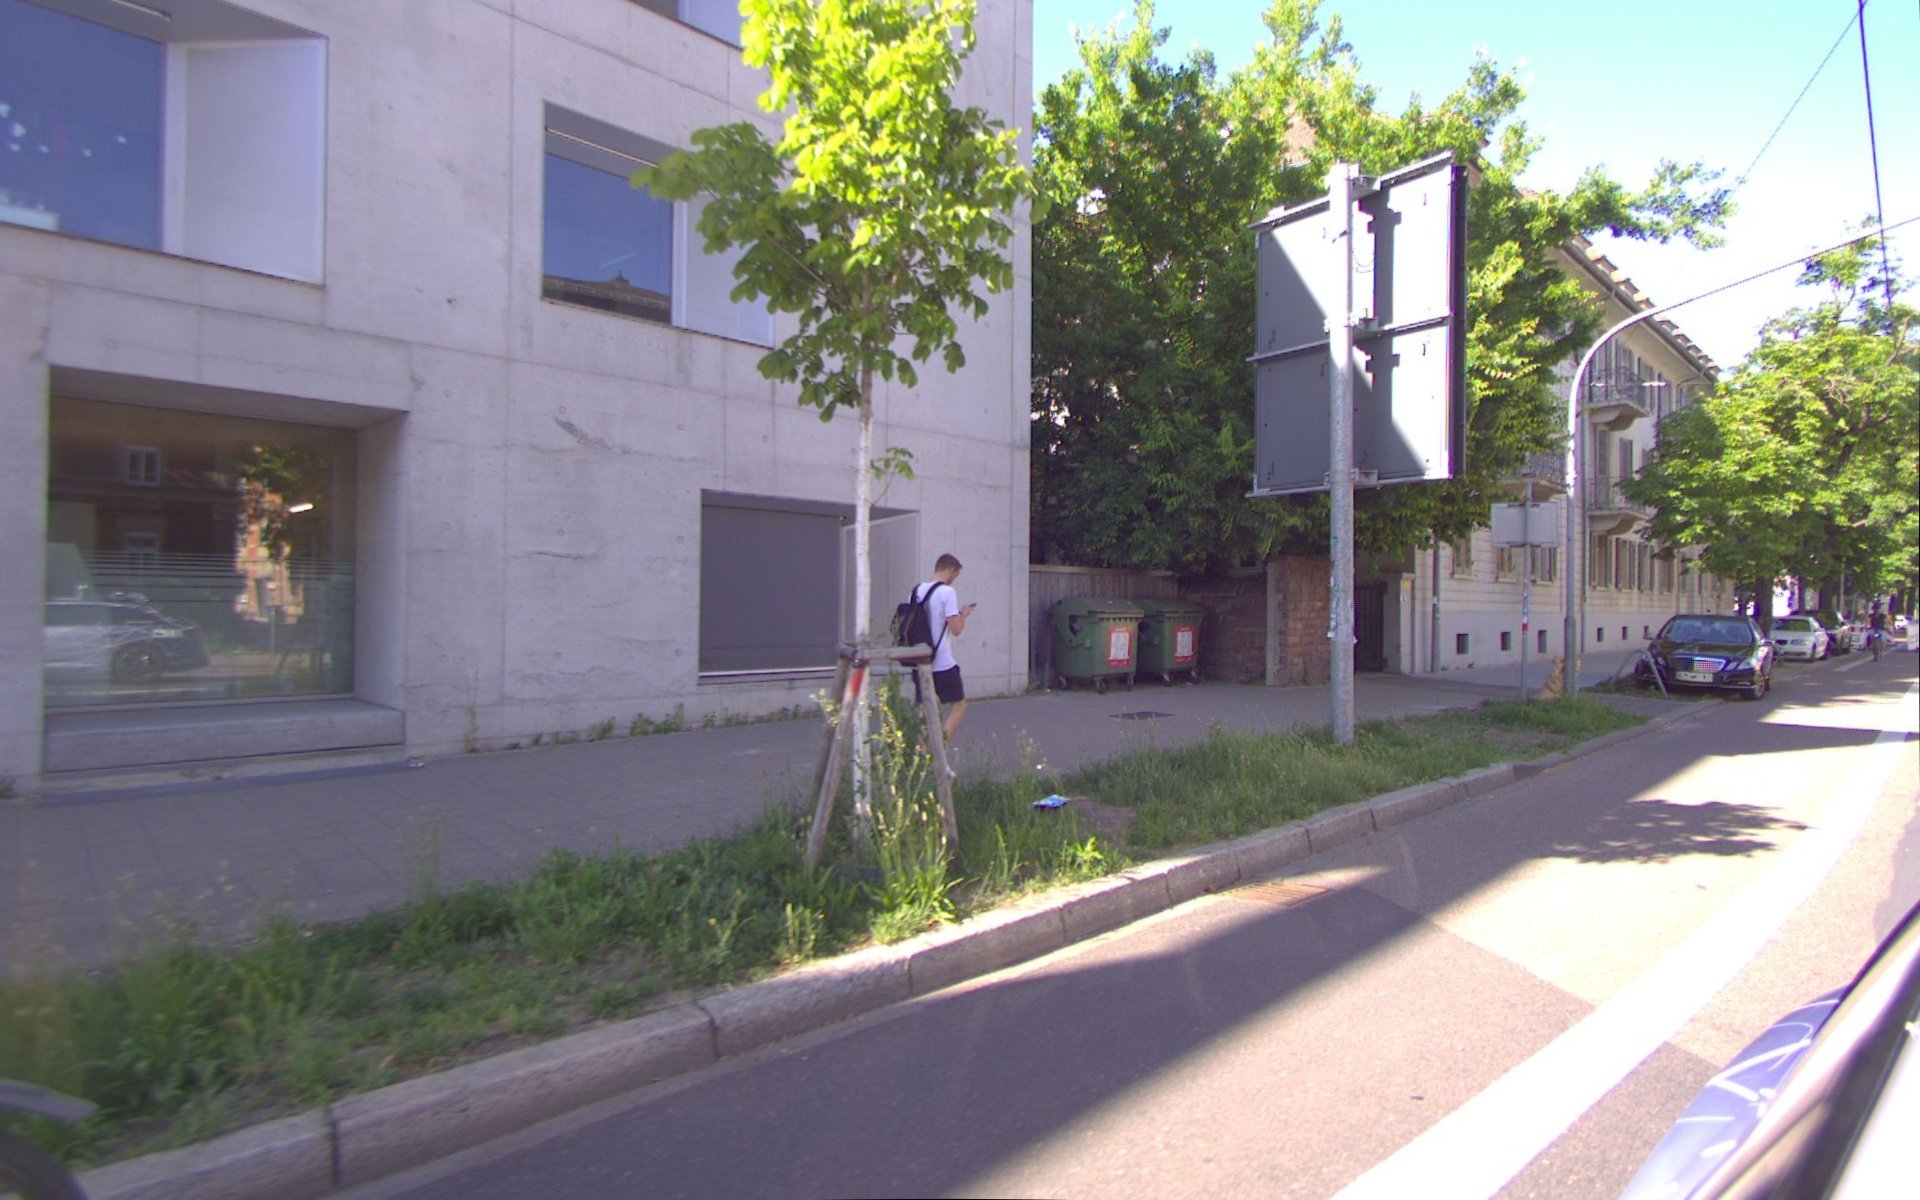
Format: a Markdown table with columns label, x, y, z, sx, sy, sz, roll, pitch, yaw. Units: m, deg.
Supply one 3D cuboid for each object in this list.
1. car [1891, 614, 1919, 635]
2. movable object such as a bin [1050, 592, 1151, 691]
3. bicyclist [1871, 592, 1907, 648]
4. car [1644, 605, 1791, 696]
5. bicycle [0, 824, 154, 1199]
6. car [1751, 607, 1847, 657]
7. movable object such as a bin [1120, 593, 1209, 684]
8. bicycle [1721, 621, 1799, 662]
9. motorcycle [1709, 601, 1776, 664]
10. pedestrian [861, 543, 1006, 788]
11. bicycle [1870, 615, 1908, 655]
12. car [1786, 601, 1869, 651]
| label | x | y | z | sx | sy | sz | roll | pitch | yaw |
| --- | --- | --- | --- | --- | --- | --- | --- | --- | --- |
| car | 72.945 | 1.864 | 77.887 | 4.143 | 1.490 | 1.703 | 1 | 0 | -44 |
| movable object such as a bin | 2.207 | 0.622 | 15.881 | 1.332 | 1.482 | 0.934 | 1 | -1 | -42 |
| bicyclist | 29.701 | 0.647 | 32.356 | 1.029 | 1.761 | 0.762 | 1 | -2 | -44 |
| car | 14.763 | 0.892 | 19.612 | 1.821 | 1.477 | 4.744 | 2 | 1 | 42 |
| bicycle | -2.346 | 1.030 | 1.239 | 2.075 | 1.108 | 0.739 | 1 | -2 | -42 |
| car | 25.997 | 0.958 | 31.315 | 4.281 | 1.399 | 1.726 | 1 | 1 | -43 |
| movable object such as a bin | 3.488 | 0.632 | 17.247 | 0.933 | 1.482 | 1.310 | 0 | -1 | 45 |
| bicycle | 22.688 | 1.155 | 28.724 | 0.674 | 1.056 | 1.622 | 1 | 1 | -43 |
| motorcycle | 20.073 | 0.804 | 25.925 | 2.634 | 1.507 | 0.915 | 1 | 1 | -43 |
| pedestrian | -0.213 | 0.494 | 8.313 | 0.684 | 1.873 | 0.940 | 2 | 0 | 45 |
| bicycle | 29.699 | 1.098 | 32.335 | 2.061 | 1.258 | 0.761 | 1 | -2 | -45 |
| car | 31.718 | 0.912 | 36.956 | 4.507 | 1.646 | 1.813 | 1 | 2 | -44 |
